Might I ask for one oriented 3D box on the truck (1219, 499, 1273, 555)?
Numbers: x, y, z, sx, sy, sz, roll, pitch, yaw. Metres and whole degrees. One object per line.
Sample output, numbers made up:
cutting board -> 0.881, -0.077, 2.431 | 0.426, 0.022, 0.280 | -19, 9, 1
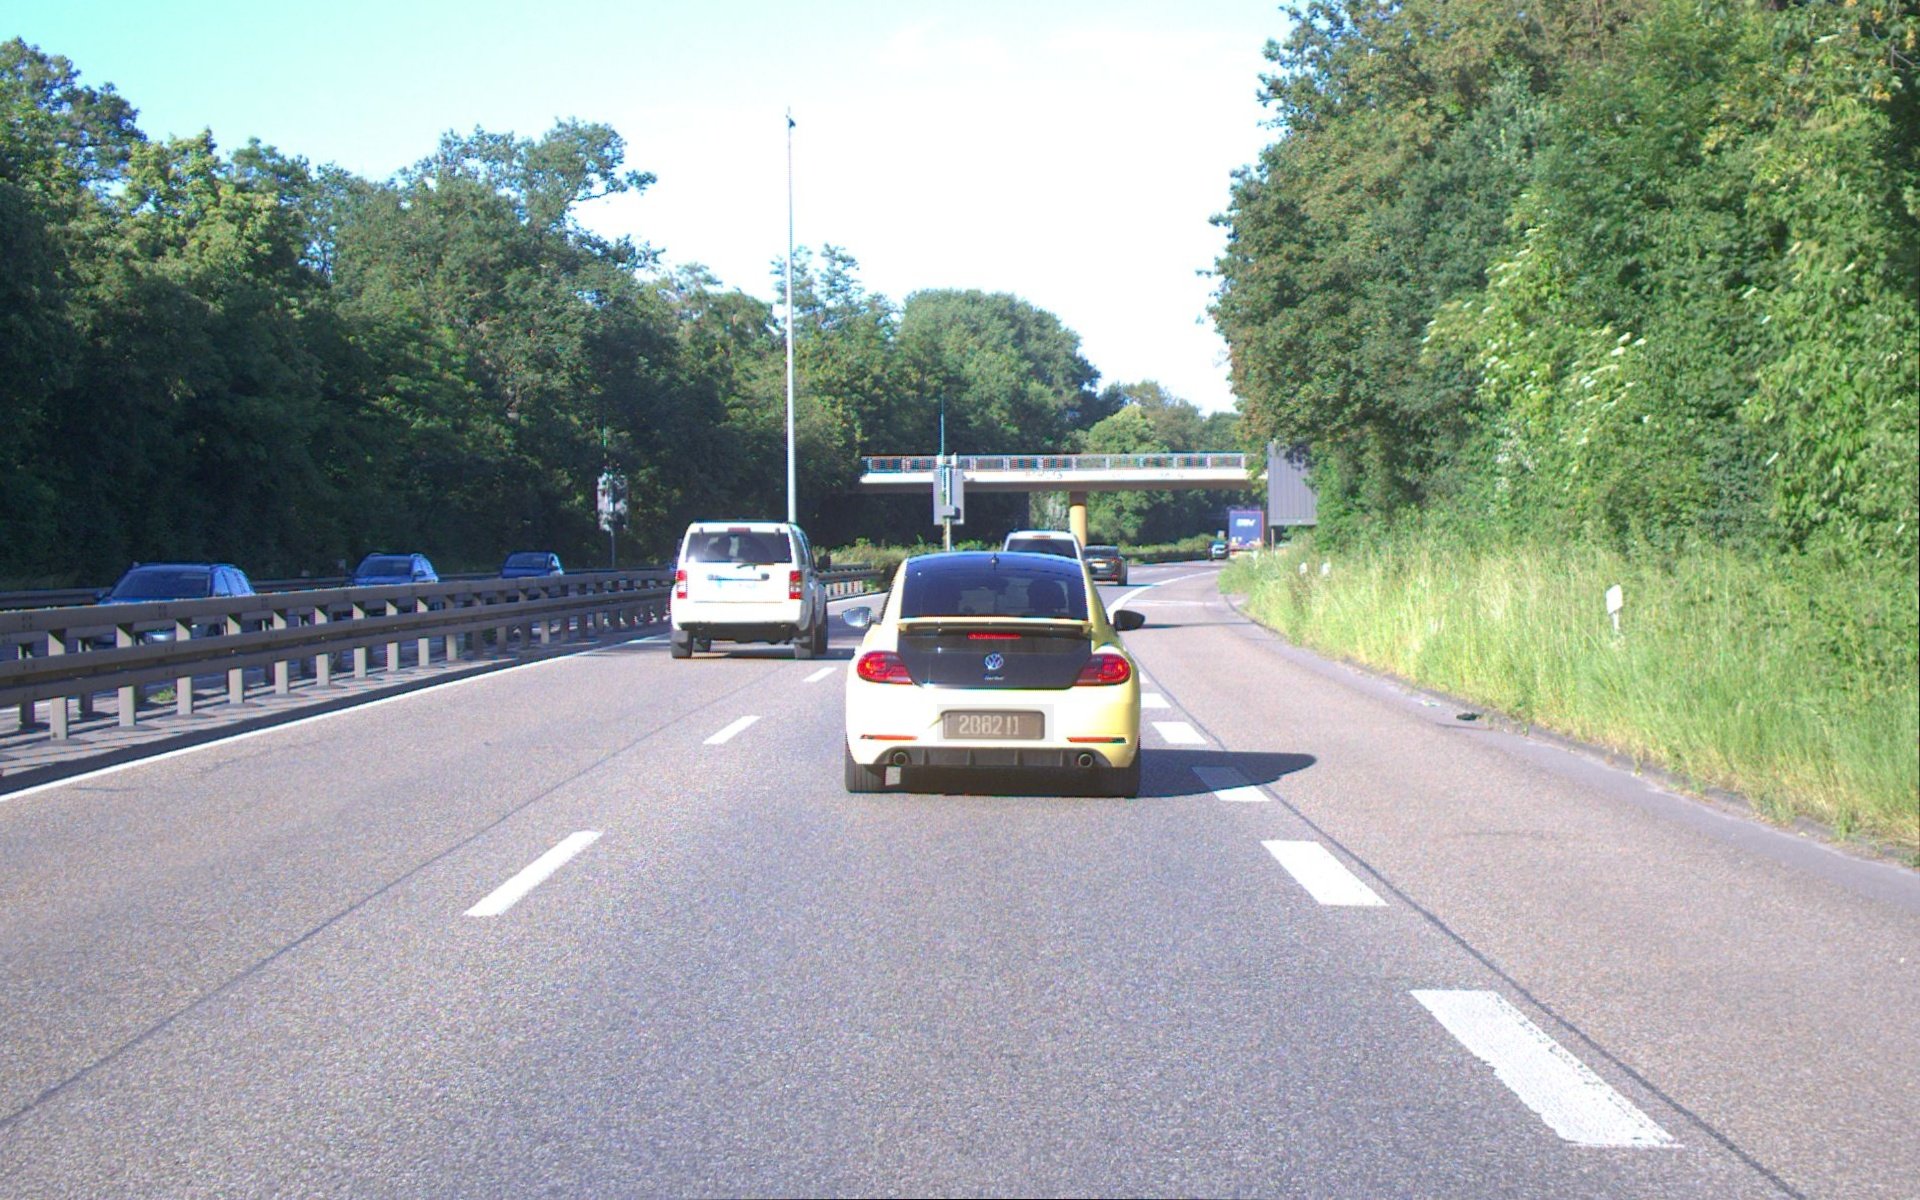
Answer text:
truck -> 21.694, -5.505, 260.061 | 3.497, 4.158, 8.859 | 0, 1, 8

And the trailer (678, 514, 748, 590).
trailer -> -8.090, -1.601, 112.914 | 1.993, 2.429, 4.607 | -1, 1, 0

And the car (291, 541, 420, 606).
car -> -14.116, -0.635, 80.559 | 2.071, 1.462, 4.986 | 0, 1, 1

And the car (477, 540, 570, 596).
car -> -13.062, -0.985, 103.101 | 2.071, 1.608, 5.059 | 0, 1, 1

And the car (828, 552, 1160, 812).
car -> 0.116, 0.445, 22.088 | 1.879, 1.456, 4.356 | 1, 1, -2

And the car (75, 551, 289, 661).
car -> -11.064, 0.054, 49.195 | 1.798, 1.462, 4.696 | -1, 1, 3

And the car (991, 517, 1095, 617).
car -> 1.557, -0.625, 63.942 | 1.863, 1.764, 4.470 | -1, 1, 2

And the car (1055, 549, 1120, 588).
car -> 4.782, -1.183, 128.537 | 1.994, 1.393, 3.999 | 0, 1, 8

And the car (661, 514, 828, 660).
car -> -2.799, -0.199, 45.390 | 2.085, 1.822, 4.001 | -1, 1, -2
